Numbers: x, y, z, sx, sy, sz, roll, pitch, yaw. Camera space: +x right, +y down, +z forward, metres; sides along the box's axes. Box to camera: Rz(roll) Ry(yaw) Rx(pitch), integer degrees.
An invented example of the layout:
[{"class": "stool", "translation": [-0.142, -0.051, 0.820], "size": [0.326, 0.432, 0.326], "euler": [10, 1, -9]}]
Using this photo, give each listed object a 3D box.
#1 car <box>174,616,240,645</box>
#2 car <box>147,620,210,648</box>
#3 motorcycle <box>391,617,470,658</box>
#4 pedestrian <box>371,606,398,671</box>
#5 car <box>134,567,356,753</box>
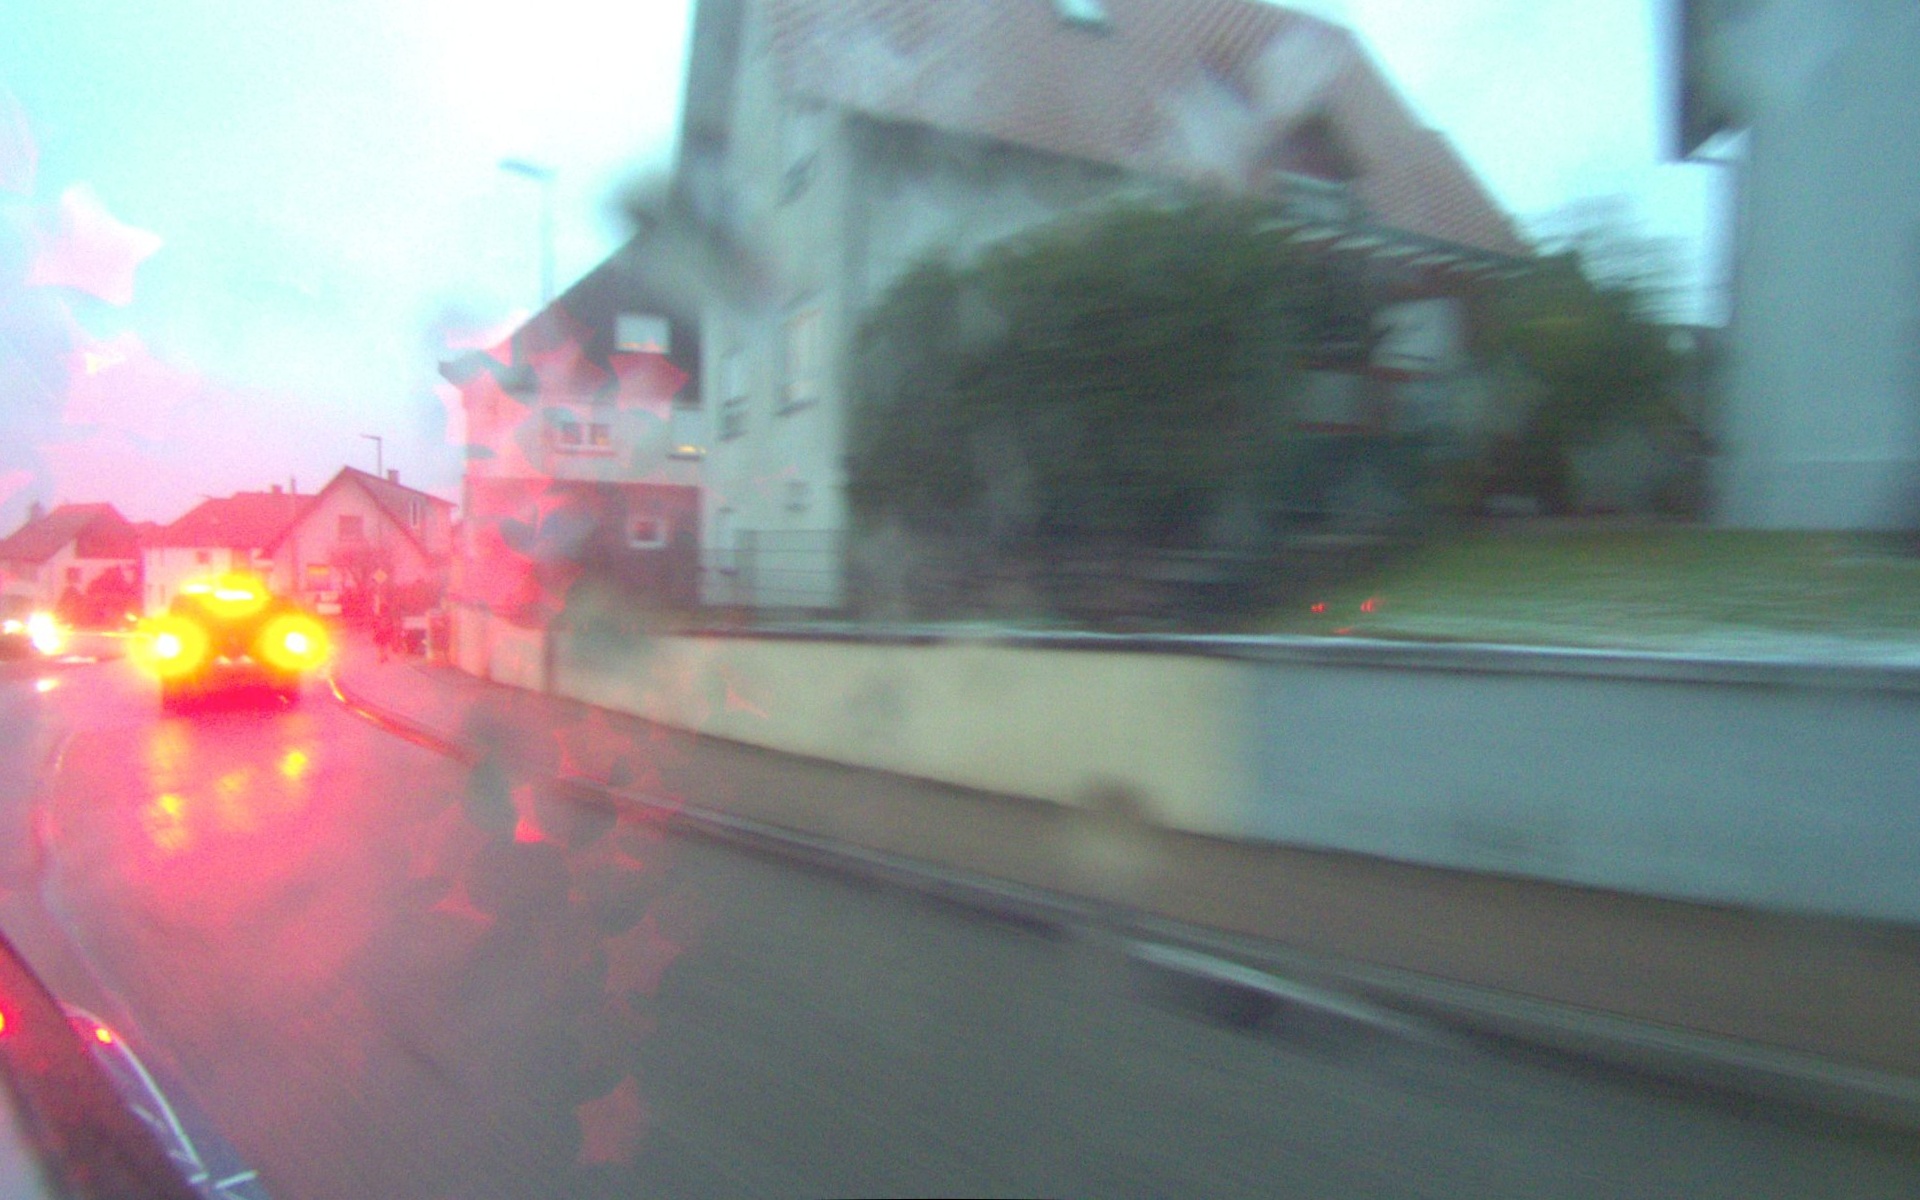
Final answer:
[{"class": "car", "translation": [-39.233, 1.569, 52.708], "size": [4.141, 1.399, 1.732], "euler": [-2, 0, 38]}, {"class": "car", "translation": [-43.576, 1.868, 56.405], "size": [4.062, 1.451, 1.806], "euler": [-2, 0, 38]}, {"class": "motorcycle", "translation": [-18.491, 1.306, 35.398], "size": [2.209, 1.308, 1.056], "euler": [-2, 0, 3]}, {"class": "pedestrian", "translation": [-15.895, 1.046, 27.943], "size": [0.590, 1.746, 0.814], "euler": [-1, 1, -32]}, {"class": "car", "translation": [-9.792, 0.713, 13.717], "size": [2.083, 2.042, 4.992], "euler": [1, -2, -39]}]
